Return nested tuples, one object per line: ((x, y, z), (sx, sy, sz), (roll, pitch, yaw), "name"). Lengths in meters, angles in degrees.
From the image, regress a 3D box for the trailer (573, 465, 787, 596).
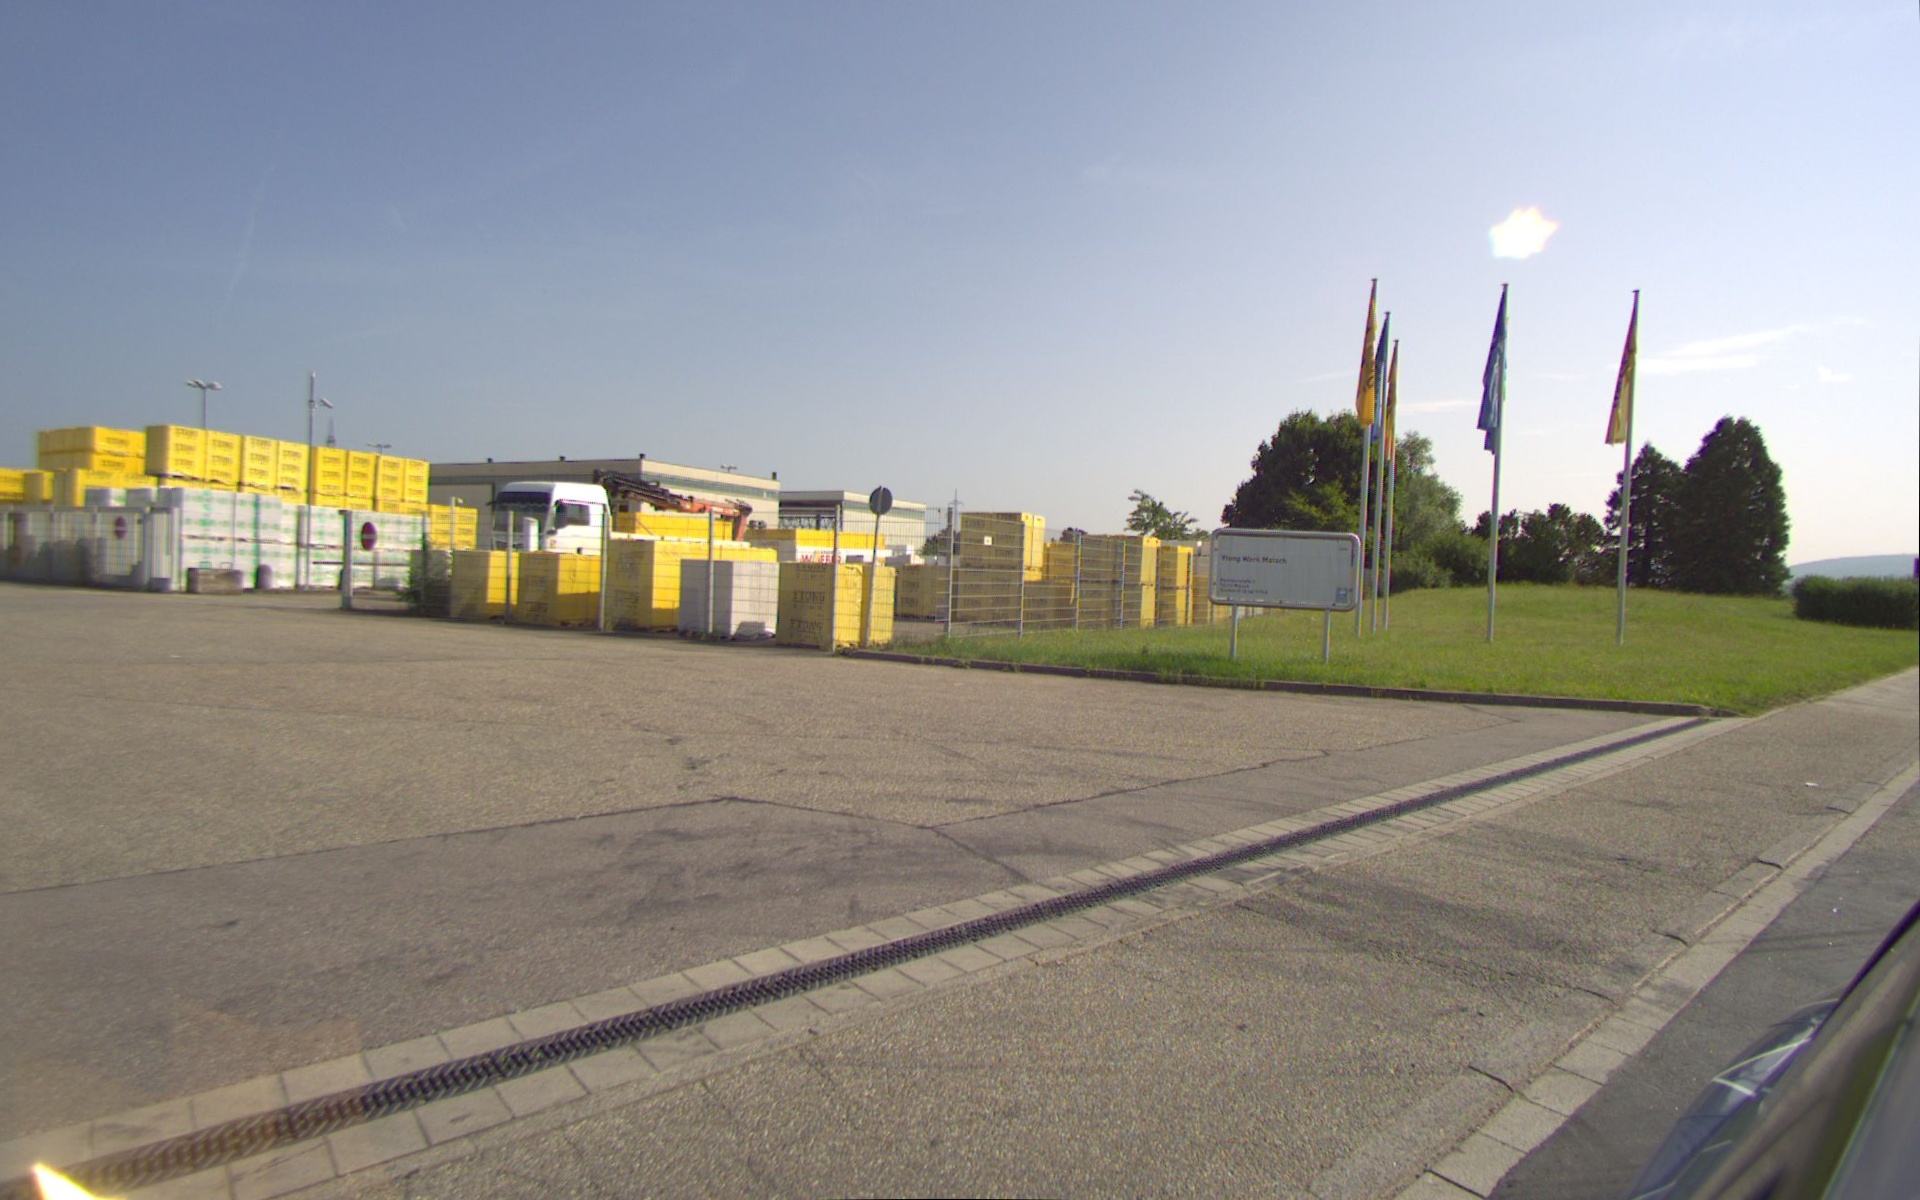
((-9.159, -2.151, 34.225), (2.461, 3.924, 7.729), (0, 1, 27), "trailer")

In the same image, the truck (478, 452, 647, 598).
((-11.512, -2.064, 29.583), (2.521, 3.924, 3.963), (0, 1, 27), "truck")
